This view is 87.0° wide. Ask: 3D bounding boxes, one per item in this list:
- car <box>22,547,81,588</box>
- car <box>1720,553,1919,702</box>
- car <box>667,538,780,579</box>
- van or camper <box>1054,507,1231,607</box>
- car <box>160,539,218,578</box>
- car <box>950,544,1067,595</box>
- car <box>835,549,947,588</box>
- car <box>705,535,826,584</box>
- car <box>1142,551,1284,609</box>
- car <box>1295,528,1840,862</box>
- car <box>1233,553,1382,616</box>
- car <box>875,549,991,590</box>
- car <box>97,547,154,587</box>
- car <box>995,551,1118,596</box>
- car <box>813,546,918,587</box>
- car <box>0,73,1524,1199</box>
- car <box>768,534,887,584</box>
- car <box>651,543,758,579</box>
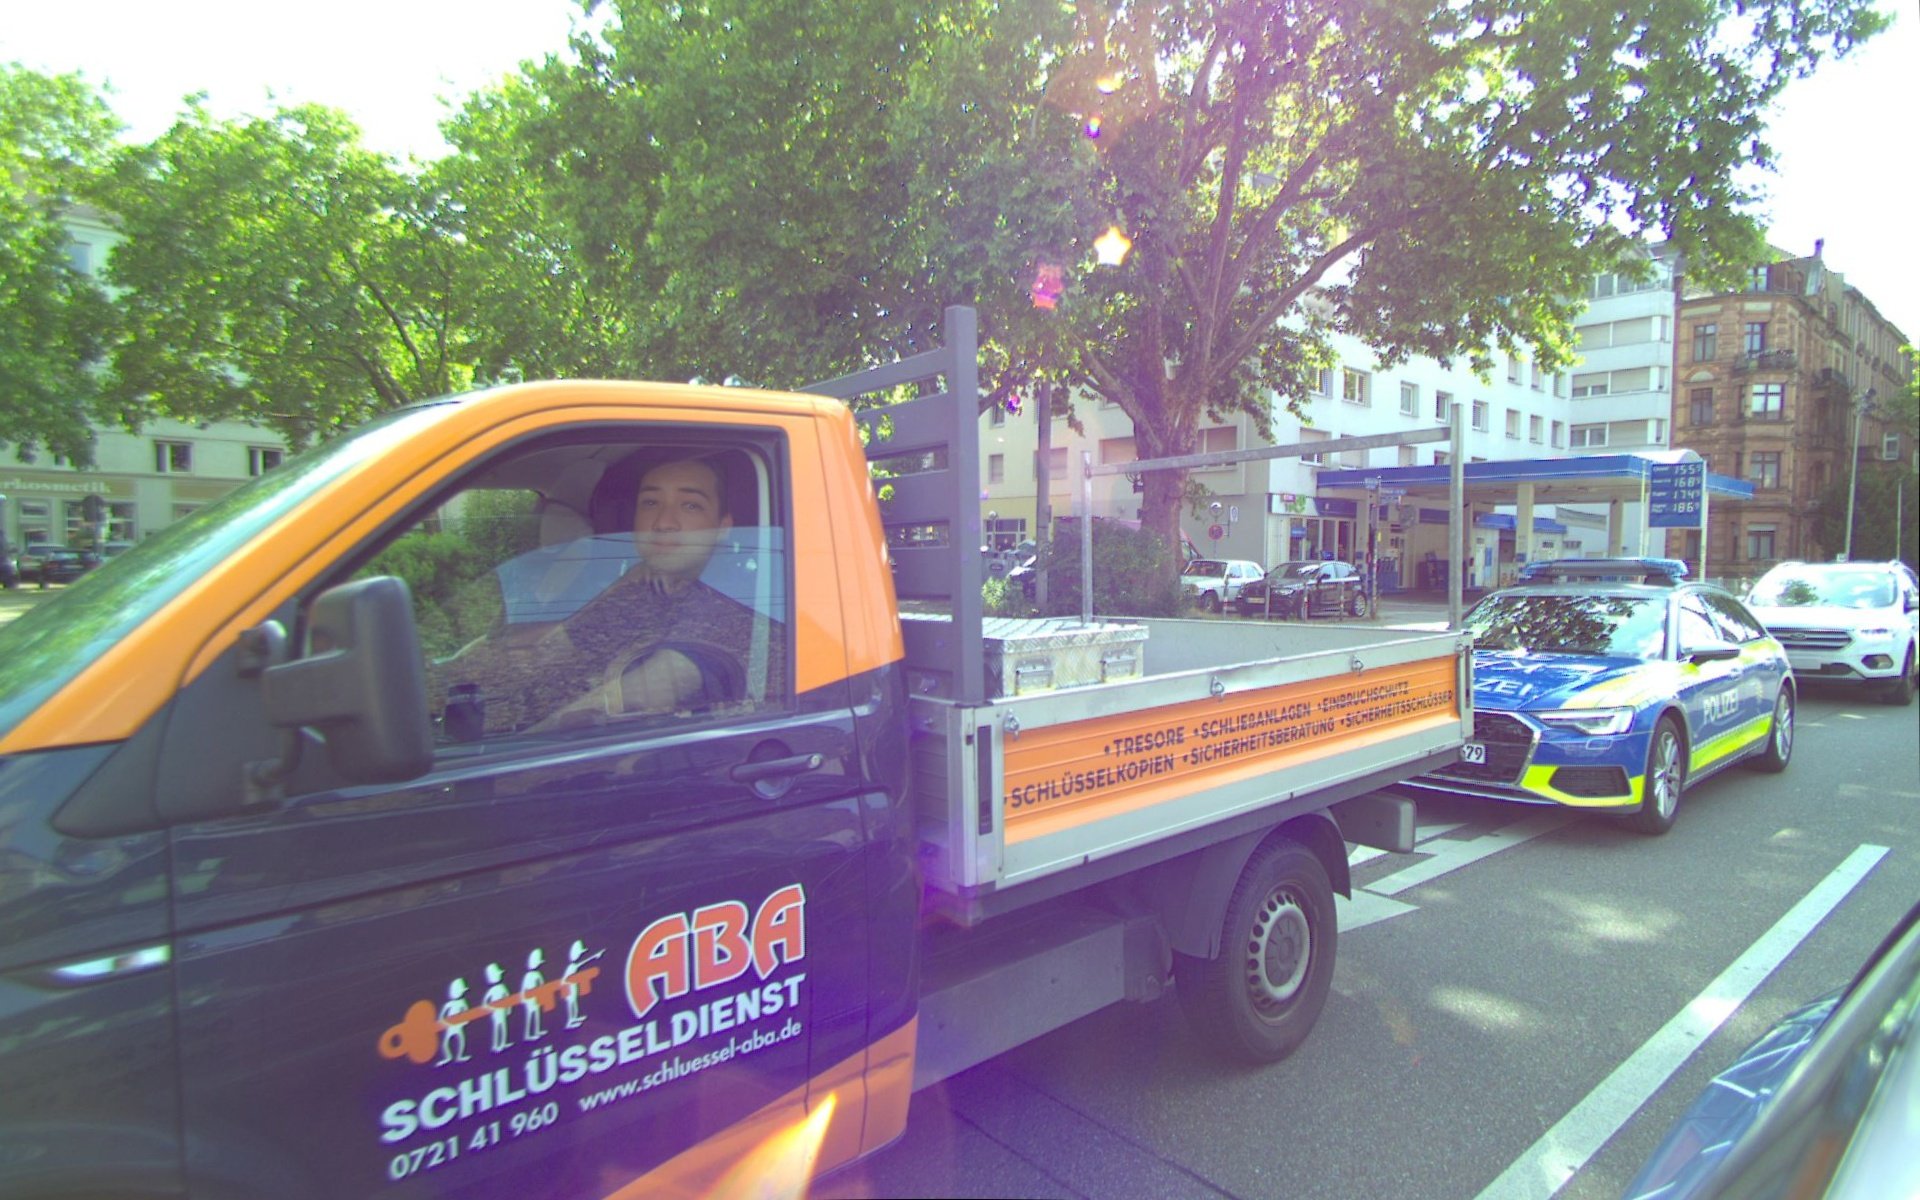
[{"bbox_3d":[-39.666,-1.459,44.218,1.820,1.679,4.077,-1,3,-42],"label":"car"},{"bbox_3d":[11.665,0.238,13.244,4.597,1.626,1.763,-1,2,-40],"label":"car"},{"bbox_3d":[-11.748,-2.064,50.566,5.165,1.895,1.996,-2,1,-43],"label":"car"},{"bbox_3d":[5.390,-1.225,29.536,5.253,2.674,2.107,-2,1,-38],"label":"van or camper"},{"bbox_3d":[-35.796,-1.951,46.975,1.820,1.679,4.077,-1,3,-42],"label":"car"},{"bbox_3d":[1.662,-1.023,33.620,3.931,1.624,1.528,-2,2,-41],"label":"car"},{"bbox_3d":[-2.550,-1.175,38.044,3.931,1.381,1.765,-2,1,-41],"label":"car"},{"bbox_3d":[-8.837,-1.818,46.337,5.168,2.112,1.995,-2,1,-45],"label":"car"},{"bbox_3d":[6.799,-0.572,27.021,3.931,1.428,1.756,-2,3,-41],"label":"car"},{"bbox_3d":[4.689,0.391,7.416,5.062,1.672,1.871,-2,2,-40],"label":"car"},{"bbox_3d":[8.624,-0.432,24.993,3.931,1.428,1.756,-2,3,-41],"label":"car"},{"bbox_3d":[-0.936,-1.099,36.145,3.931,1.381,1.765,-2,1,-41],"label":"car"},{"bbox_3d":[-37.535,-1.521,45.473,1.820,1.679,4.077,-1,3,-42],"label":"car"},{"bbox_3d":[3.020,-0.829,31.267,3.931,1.310,1.476,-2,1,-41],"label":"car"},{"bbox_3d":[-3.744,-1.349,40.513,3.931,1.539,1.661,-2,1,-41],"label":"car"},{"bbox_3d":[-0.587,0.324,2.861,5.243,2.010,2.079,-4,4,-40],"label":"car"},{"bbox_3d":[-5.497,-1.673,42.297,4.601,1.958,1.997,-2,1,-41],"label":"car"},{"bbox_3d":[-13.364,-2.019,53.209,5.165,1.772,1.899,-2,1,-43],"label":"car"}]
